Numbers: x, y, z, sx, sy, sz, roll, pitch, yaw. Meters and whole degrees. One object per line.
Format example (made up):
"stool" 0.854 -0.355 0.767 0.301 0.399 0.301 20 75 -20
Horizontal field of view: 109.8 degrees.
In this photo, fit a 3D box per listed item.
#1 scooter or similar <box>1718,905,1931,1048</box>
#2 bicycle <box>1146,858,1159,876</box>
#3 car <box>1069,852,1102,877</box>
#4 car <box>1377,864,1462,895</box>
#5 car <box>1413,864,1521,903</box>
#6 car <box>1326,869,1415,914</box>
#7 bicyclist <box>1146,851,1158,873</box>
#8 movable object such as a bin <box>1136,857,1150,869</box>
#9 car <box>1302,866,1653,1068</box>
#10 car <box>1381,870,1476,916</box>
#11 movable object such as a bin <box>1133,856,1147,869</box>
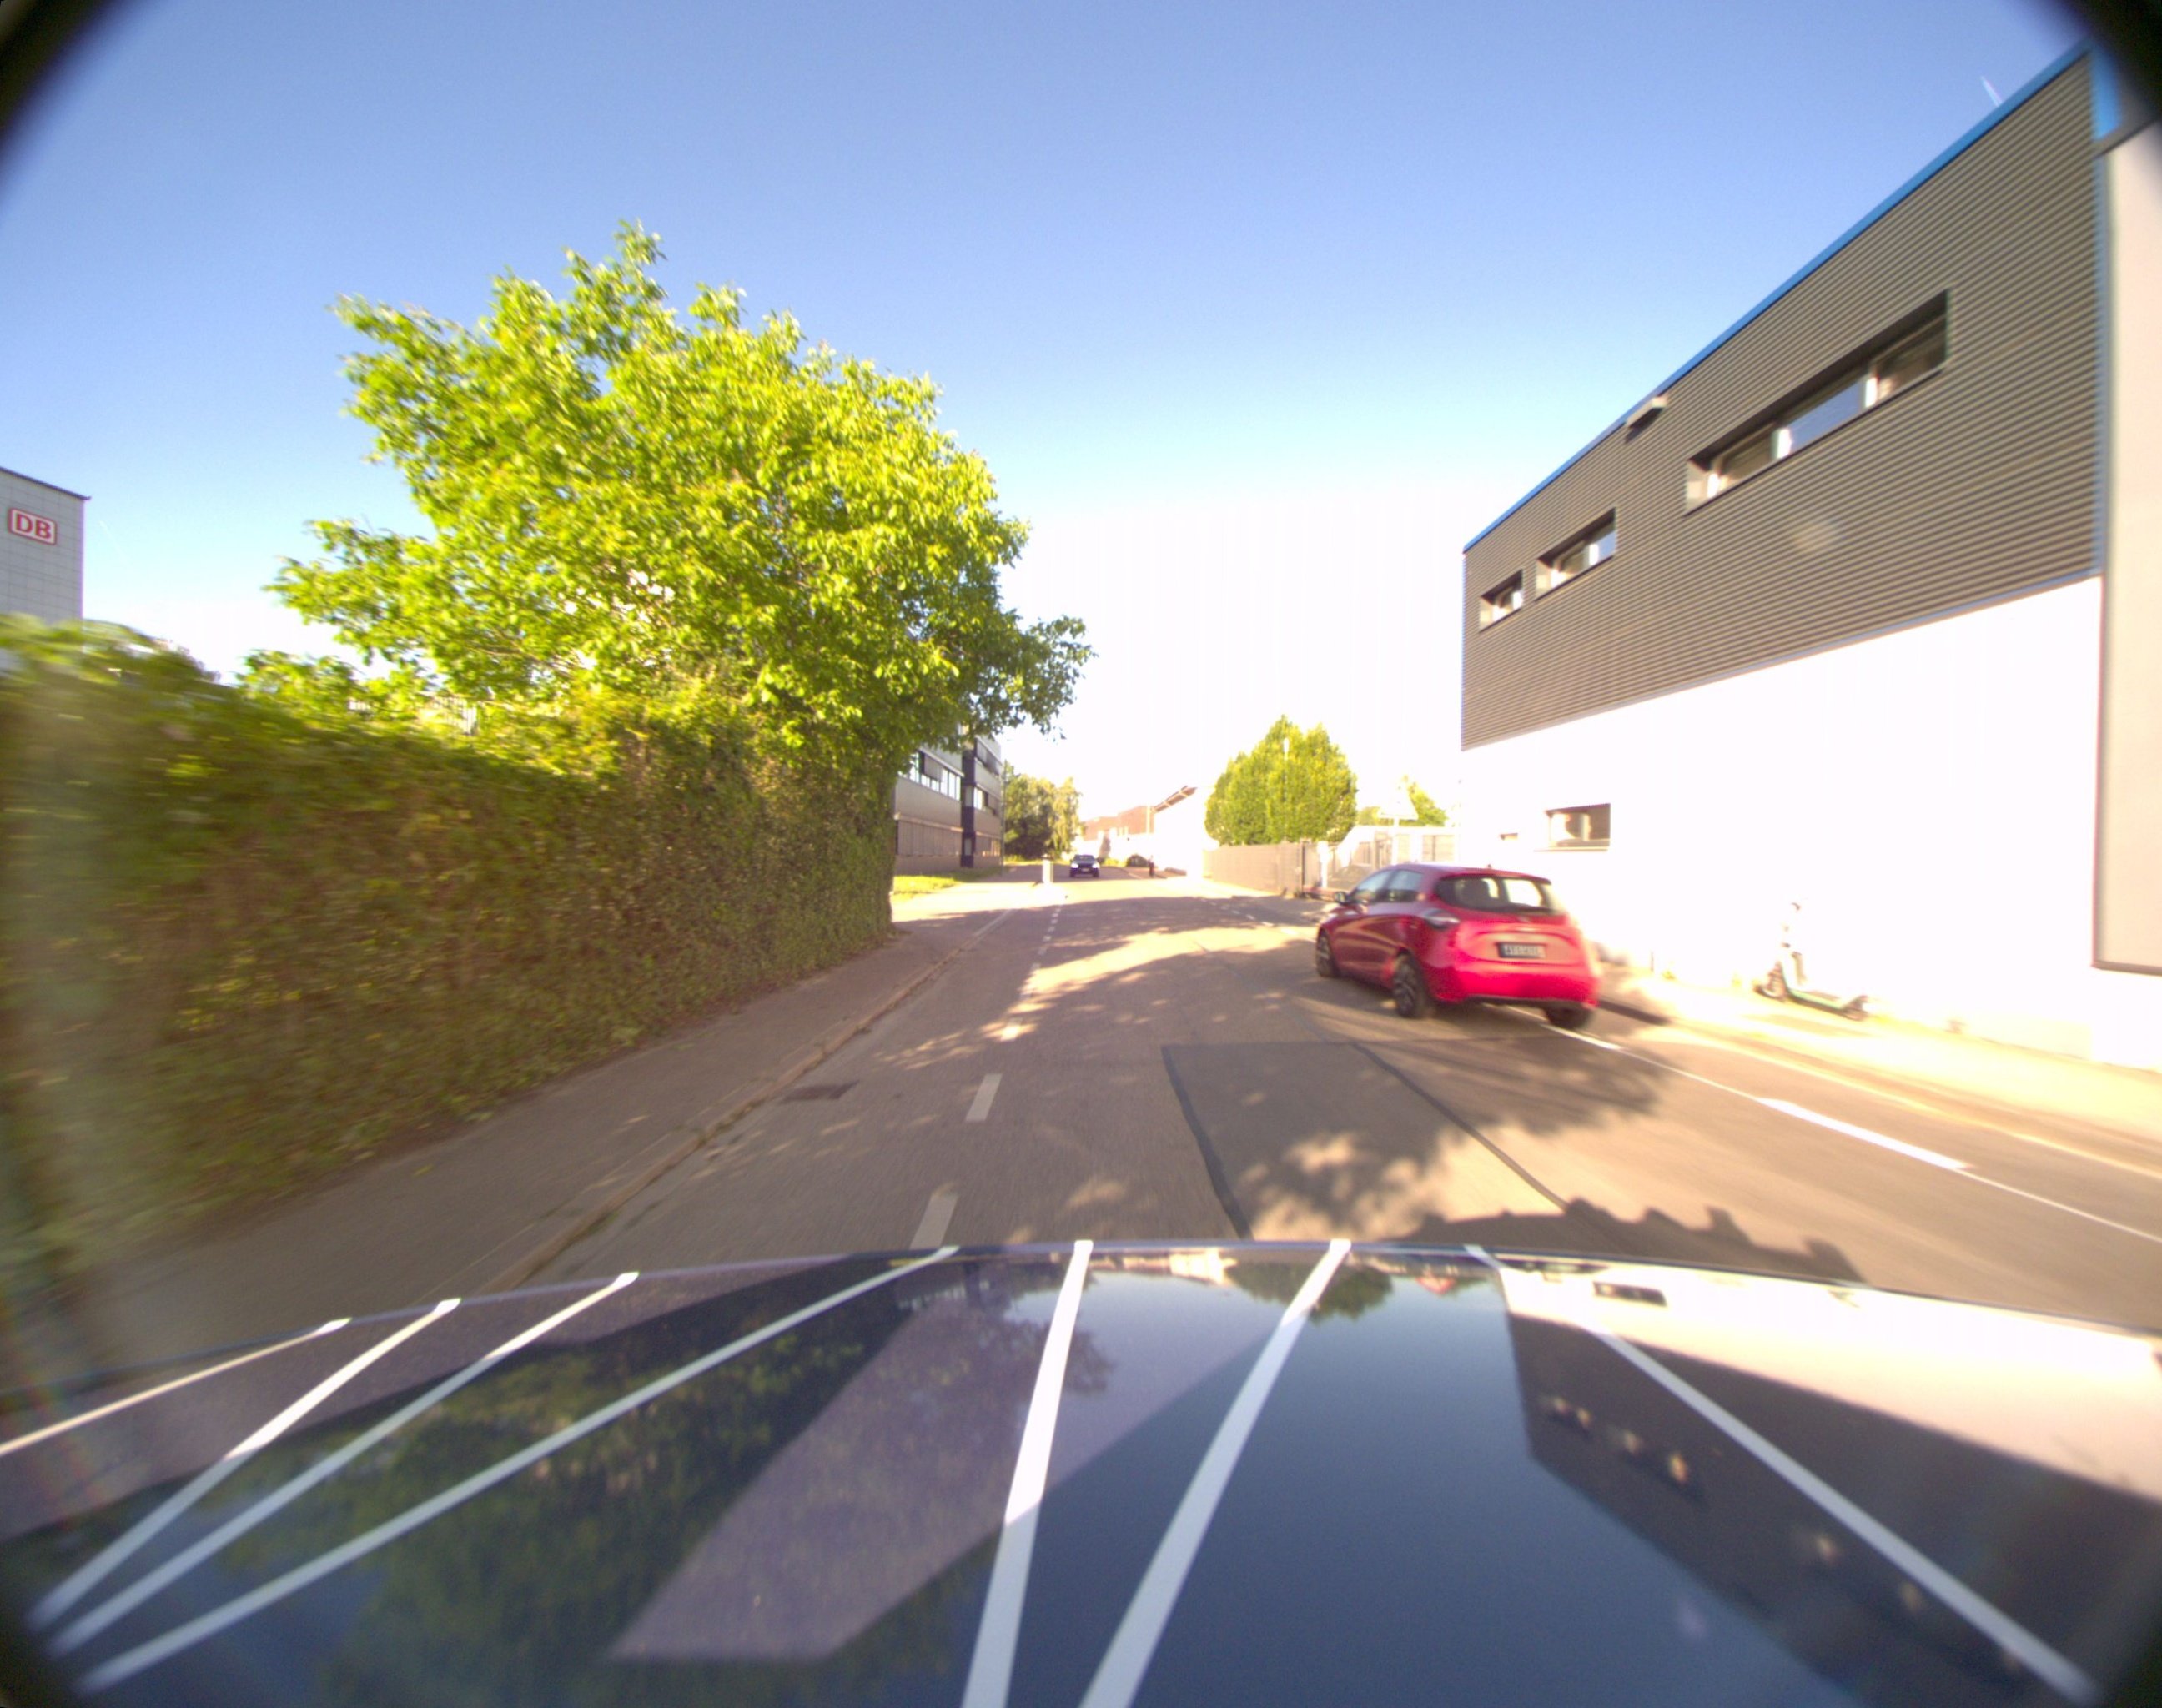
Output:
"scooter or similar" 7.629 1.199 7.925 0.508 1.196 1.753 -2 0 1
"bicycle" 5.282 0.937 56.258 0.669 1.281 2.172 2 0 -1
"car" 0.262 0.701 54.782 2.037 1.623 4.611 -2 1 -3
"car" 19.258 1.416 43.367 3.997 1.531 1.875 3 0 1
"car" 17.786 1.337 35.153 3.997 1.531 1.875 3 0 1
"car" 11.437 1.436 30.294 1.874 1.531 3.999 3 0 -1
"bicyclist" 5.283 0.577 56.219 0.748 1.618 0.833 2 0 -1
"movable object such as a bin" 7.281 1.059 89.471 1.203 1.463 1.371 1 0 -11
"car" 3.919 0.984 8.424 1.724 1.531 4.075 3 0 1
"car" 14.019 1.541 30.929 1.874 1.597 3.999 3 0 -1
"movable object such as a bin" 7.014 1.051 90.829 1.365 1.463 1.288 1 0 -11
